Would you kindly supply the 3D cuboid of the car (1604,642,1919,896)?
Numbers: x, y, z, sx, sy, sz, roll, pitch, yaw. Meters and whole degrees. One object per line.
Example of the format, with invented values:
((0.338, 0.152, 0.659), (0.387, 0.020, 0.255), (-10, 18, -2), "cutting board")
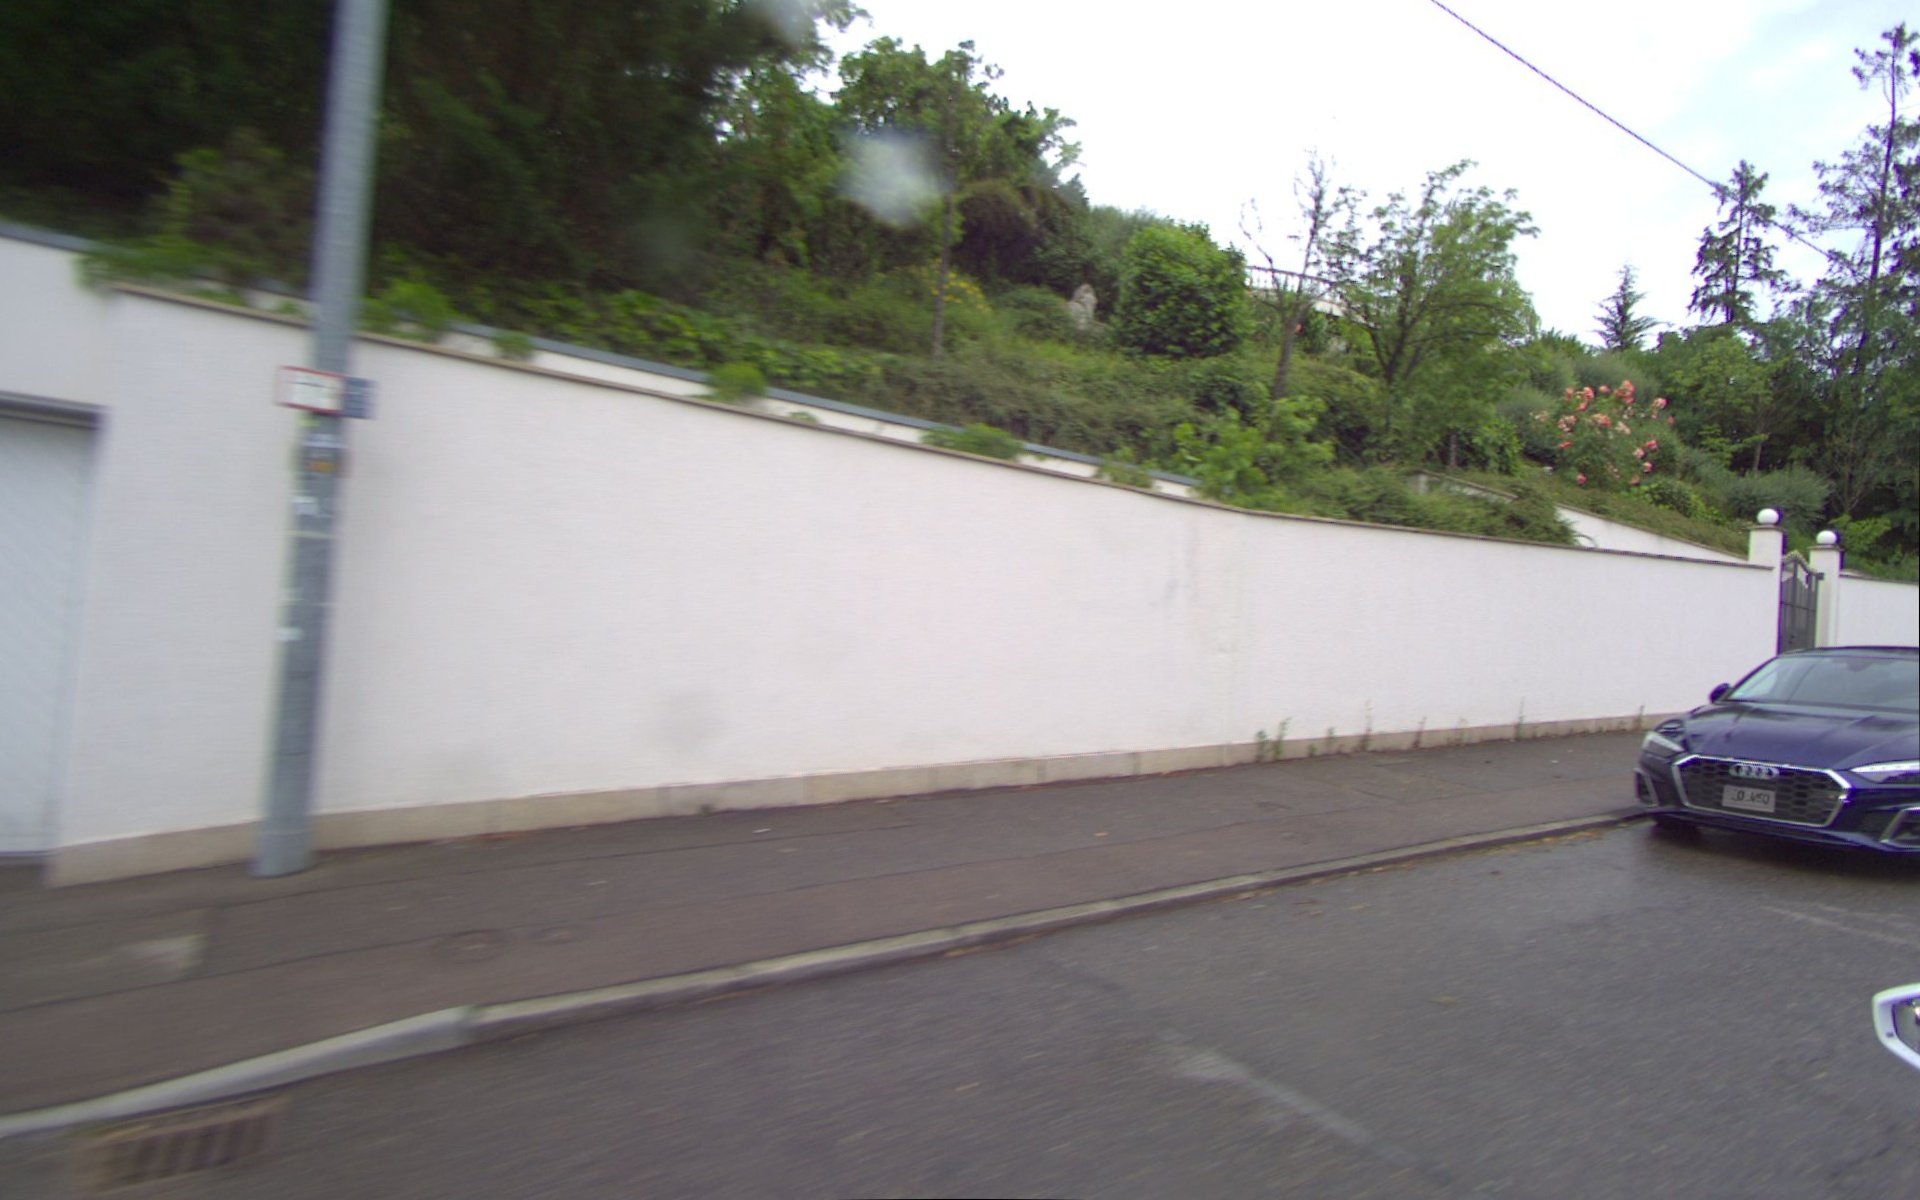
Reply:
((6.887, 1.045, 7.569), (4.376, 1.376, 1.739), (2, -1, -32), "car")
